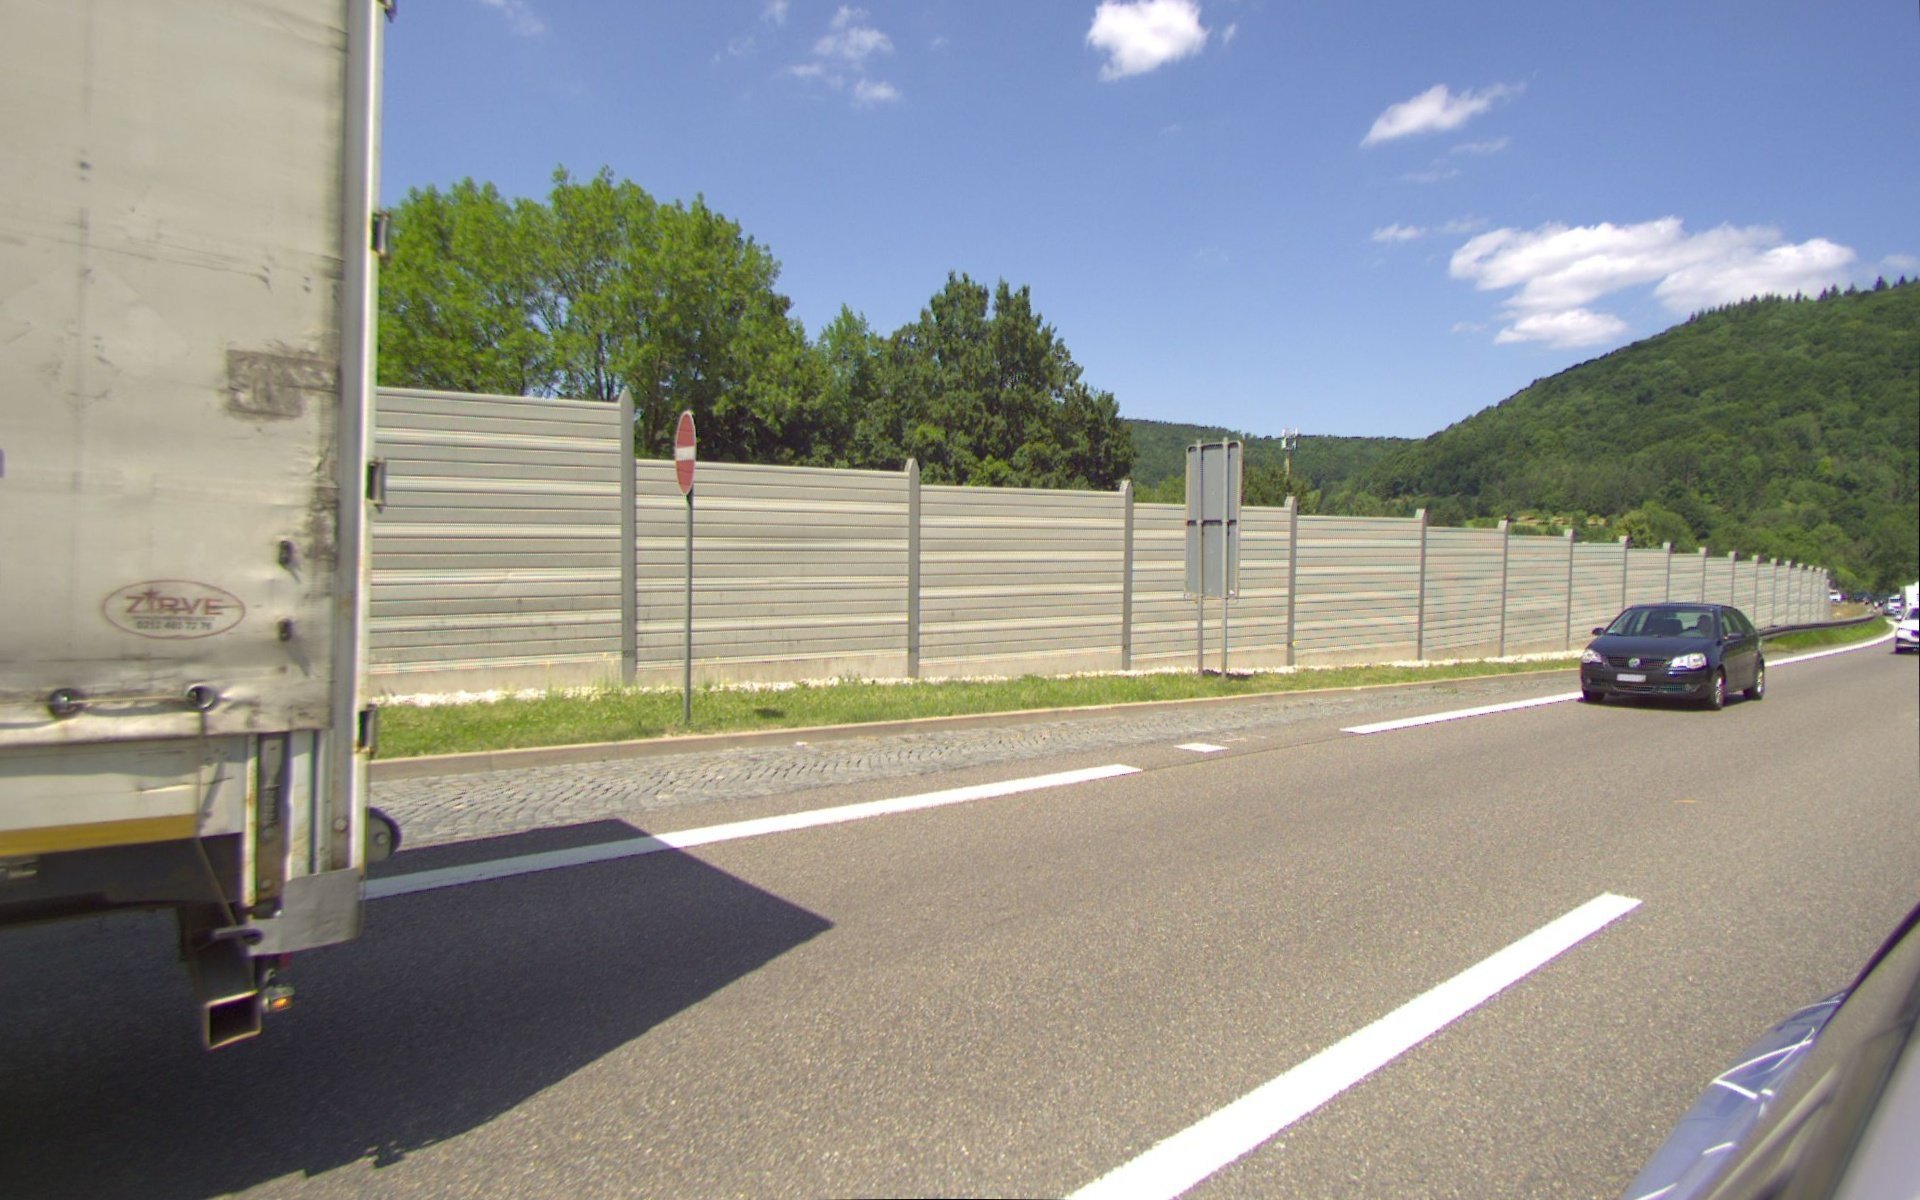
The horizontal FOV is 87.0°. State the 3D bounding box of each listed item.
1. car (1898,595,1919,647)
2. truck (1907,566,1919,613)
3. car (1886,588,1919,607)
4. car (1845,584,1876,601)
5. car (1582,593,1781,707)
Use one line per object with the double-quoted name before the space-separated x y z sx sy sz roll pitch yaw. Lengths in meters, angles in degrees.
"car" 28.771 0.585 29.390 3.658 1.448 1.905 -1 1 -42
"truck" 68.236 -0.786 70.665 2.592 3.147 6.757 -4 -2 41
"car" 81.514 -0.222 87.183 1.685 1.552 3.641 -3 -2 30
"car" 109.862 -0.933 123.546 1.982 2.039 3.959 0 0 29
"car" 10.717 0.635 14.942 3.774 1.440 1.693 0 1 -43
